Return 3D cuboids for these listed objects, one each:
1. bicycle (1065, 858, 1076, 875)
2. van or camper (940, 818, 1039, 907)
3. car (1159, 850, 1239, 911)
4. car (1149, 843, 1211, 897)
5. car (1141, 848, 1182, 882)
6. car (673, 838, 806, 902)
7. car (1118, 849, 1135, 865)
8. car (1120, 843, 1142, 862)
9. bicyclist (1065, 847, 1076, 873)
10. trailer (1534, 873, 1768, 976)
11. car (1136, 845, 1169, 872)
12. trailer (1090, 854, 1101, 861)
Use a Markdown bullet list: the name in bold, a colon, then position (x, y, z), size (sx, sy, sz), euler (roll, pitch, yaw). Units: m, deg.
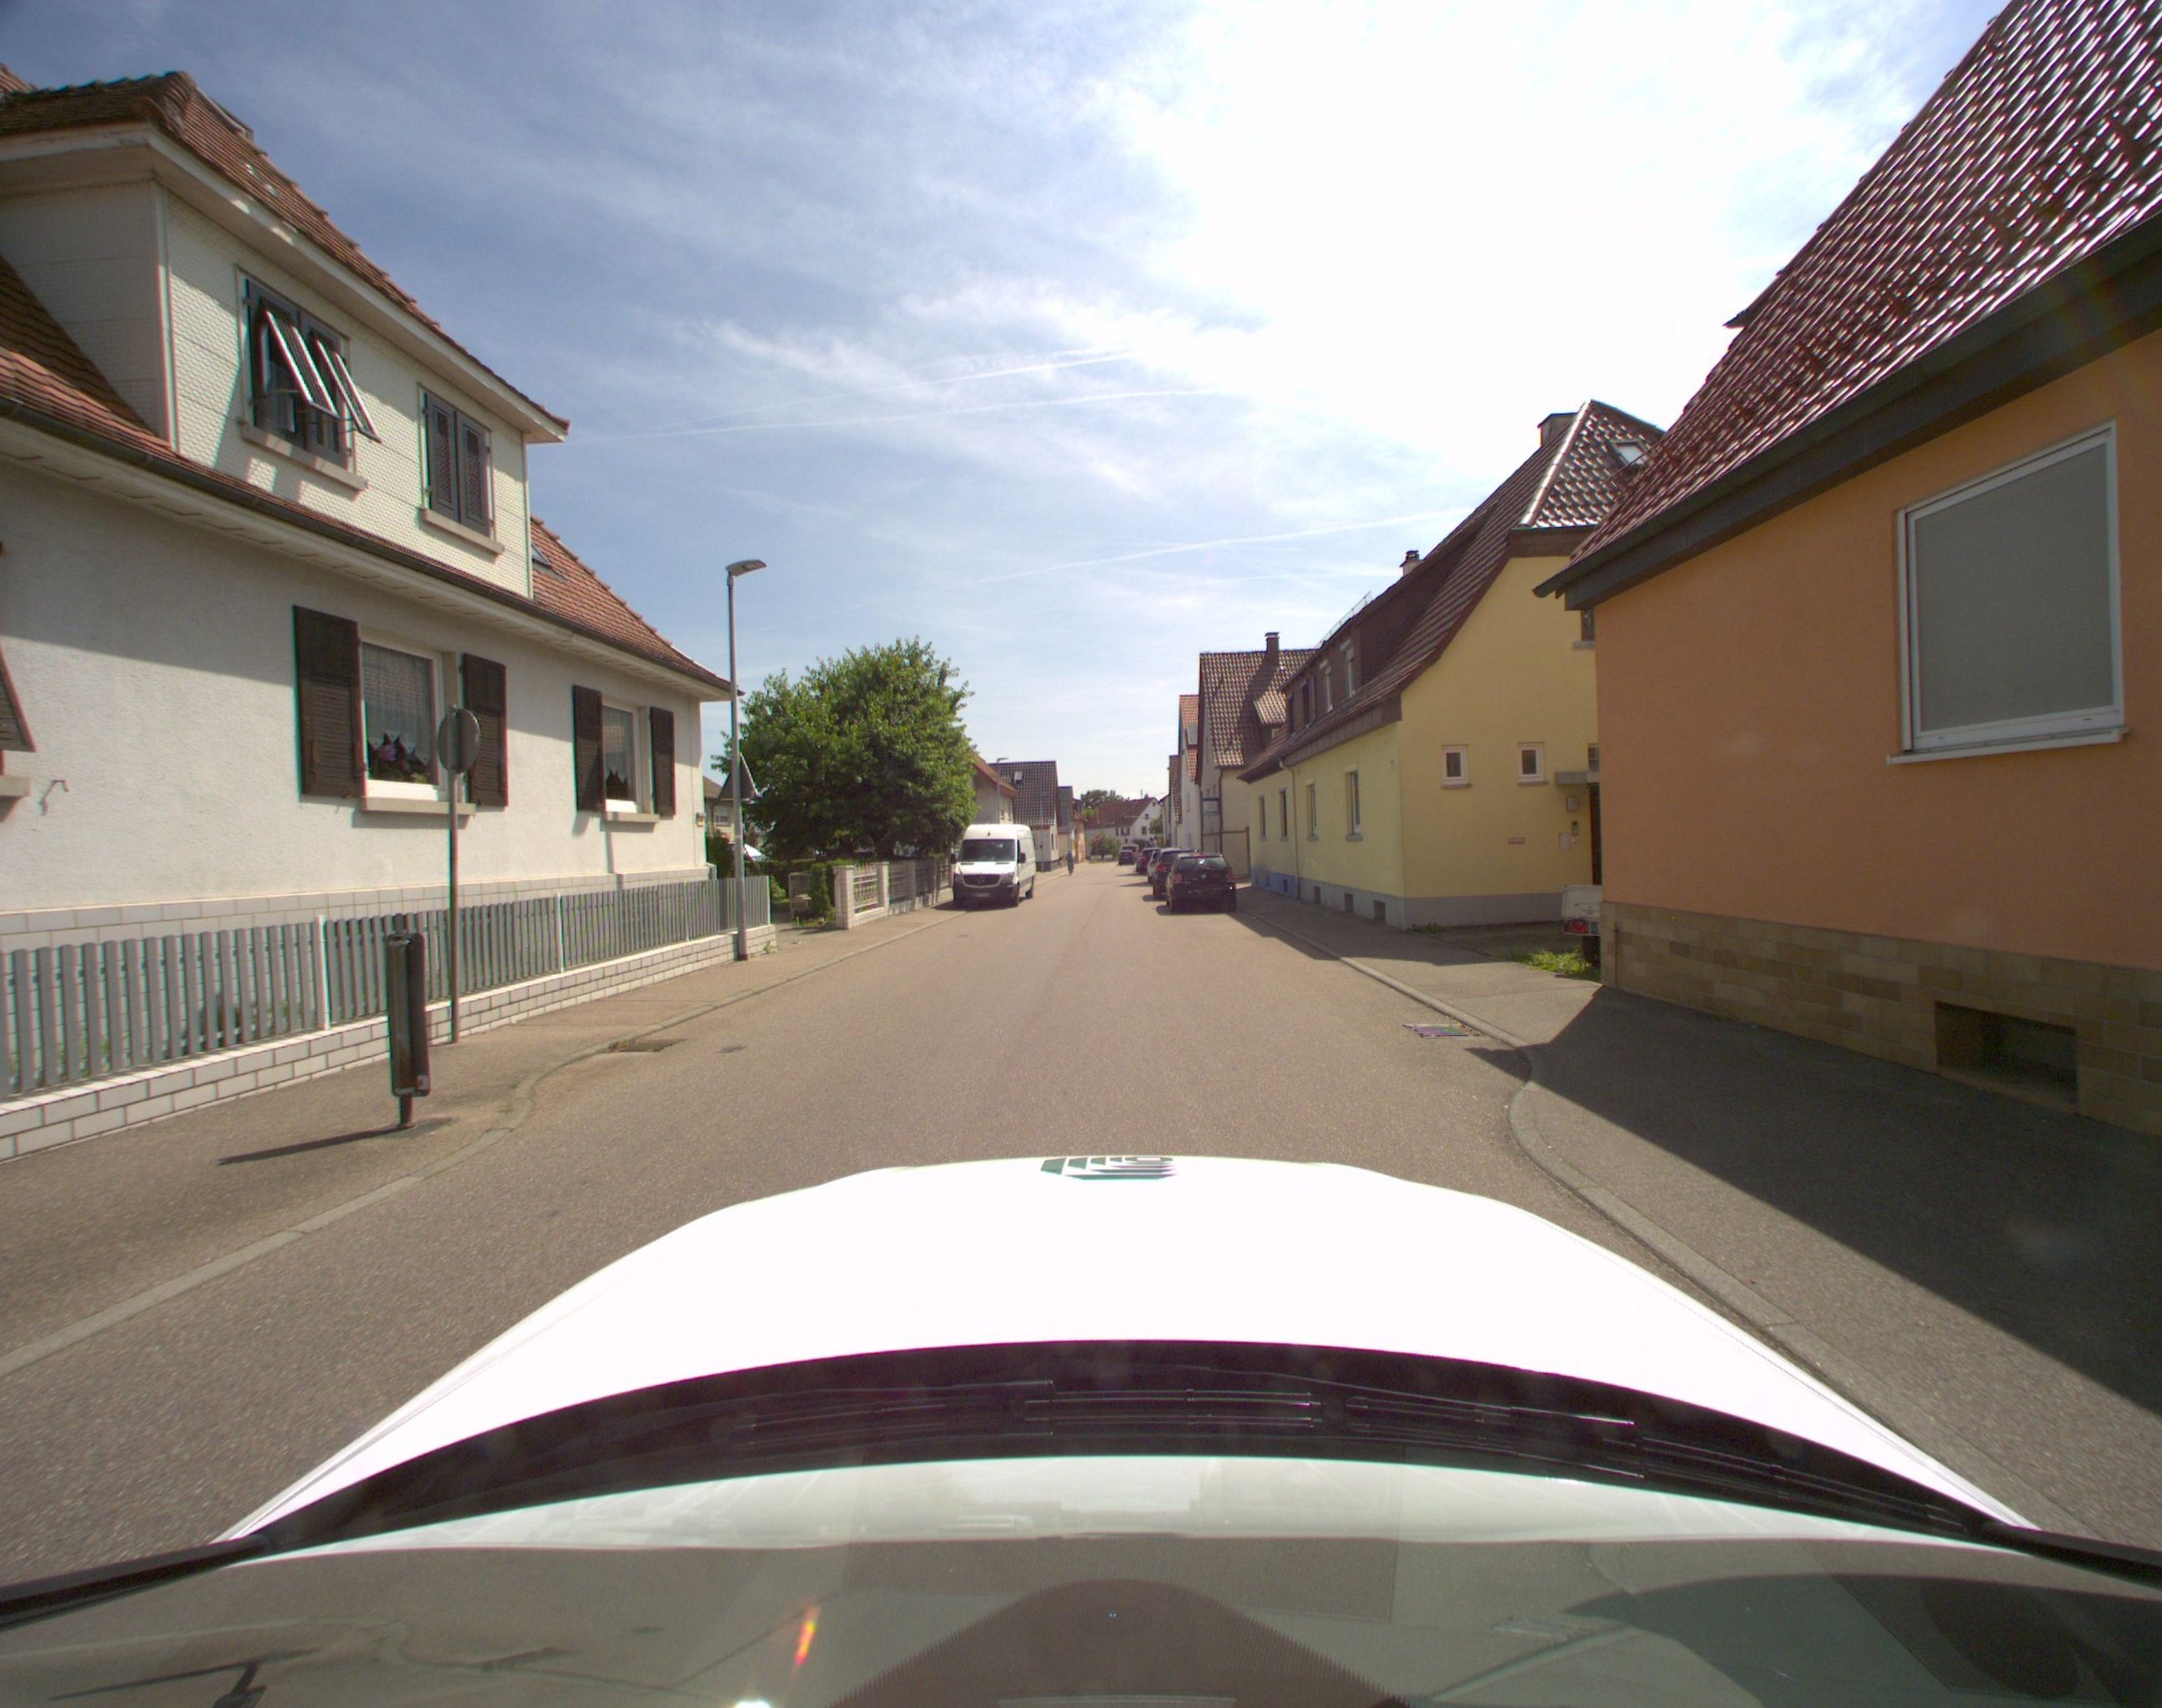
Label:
- **bicycle**: position (-0.742, 0.860, 57.552), size (0.668, 1.132, 2.190), euler (-2, 0, 2)
- **van or camper**: position (-2.854, 0.235, 27.229), size (2.176, 2.571, 6.812), euler (-1, 0, 3)
- **car**: position (2.992, 0.618, 21.309), size (1.605, 1.431, 3.755), euler (-1, 0, 1)
- **car**: position (3.185, 0.479, 26.867), size (1.721, 1.599, 4.257), euler (-1, 0, 3)
- **car**: position (3.802, 0.494, 38.800), size (1.668, 1.559, 3.041), euler (-1, 0, 1)
- **car**: position (-14.653, 0.678, 35.112), size (4.785, 2.492, 1.966), euler (-2, 0, 1)
- **car**: position (4.757, 0.271, 85.060), size (1.508, 1.567, 3.190), euler (-2, 0, 6)
- **car**: position (6.116, -0.178, 99.128), size (2.116, 2.158, 4.748), euler (-2, 0, 9)
- **bicyclist**: position (-0.760, 0.404, 57.608), size (0.710, 1.798, 0.942), euler (-2, 0, 1)
- **trailer**: position (6.205, 0.703, 8.877), size (2.147, 0.899, 1.231), euler (-2, 0, -28)
- **car**: position (4.699, 0.272, 53.918), size (1.869, 1.700, 4.184), euler (-1, 0, 1)
- **trailer**: position (2.038, 0.533, 114.968), size (1.495, 0.927, 1.013), euler (0, 0, 4)
